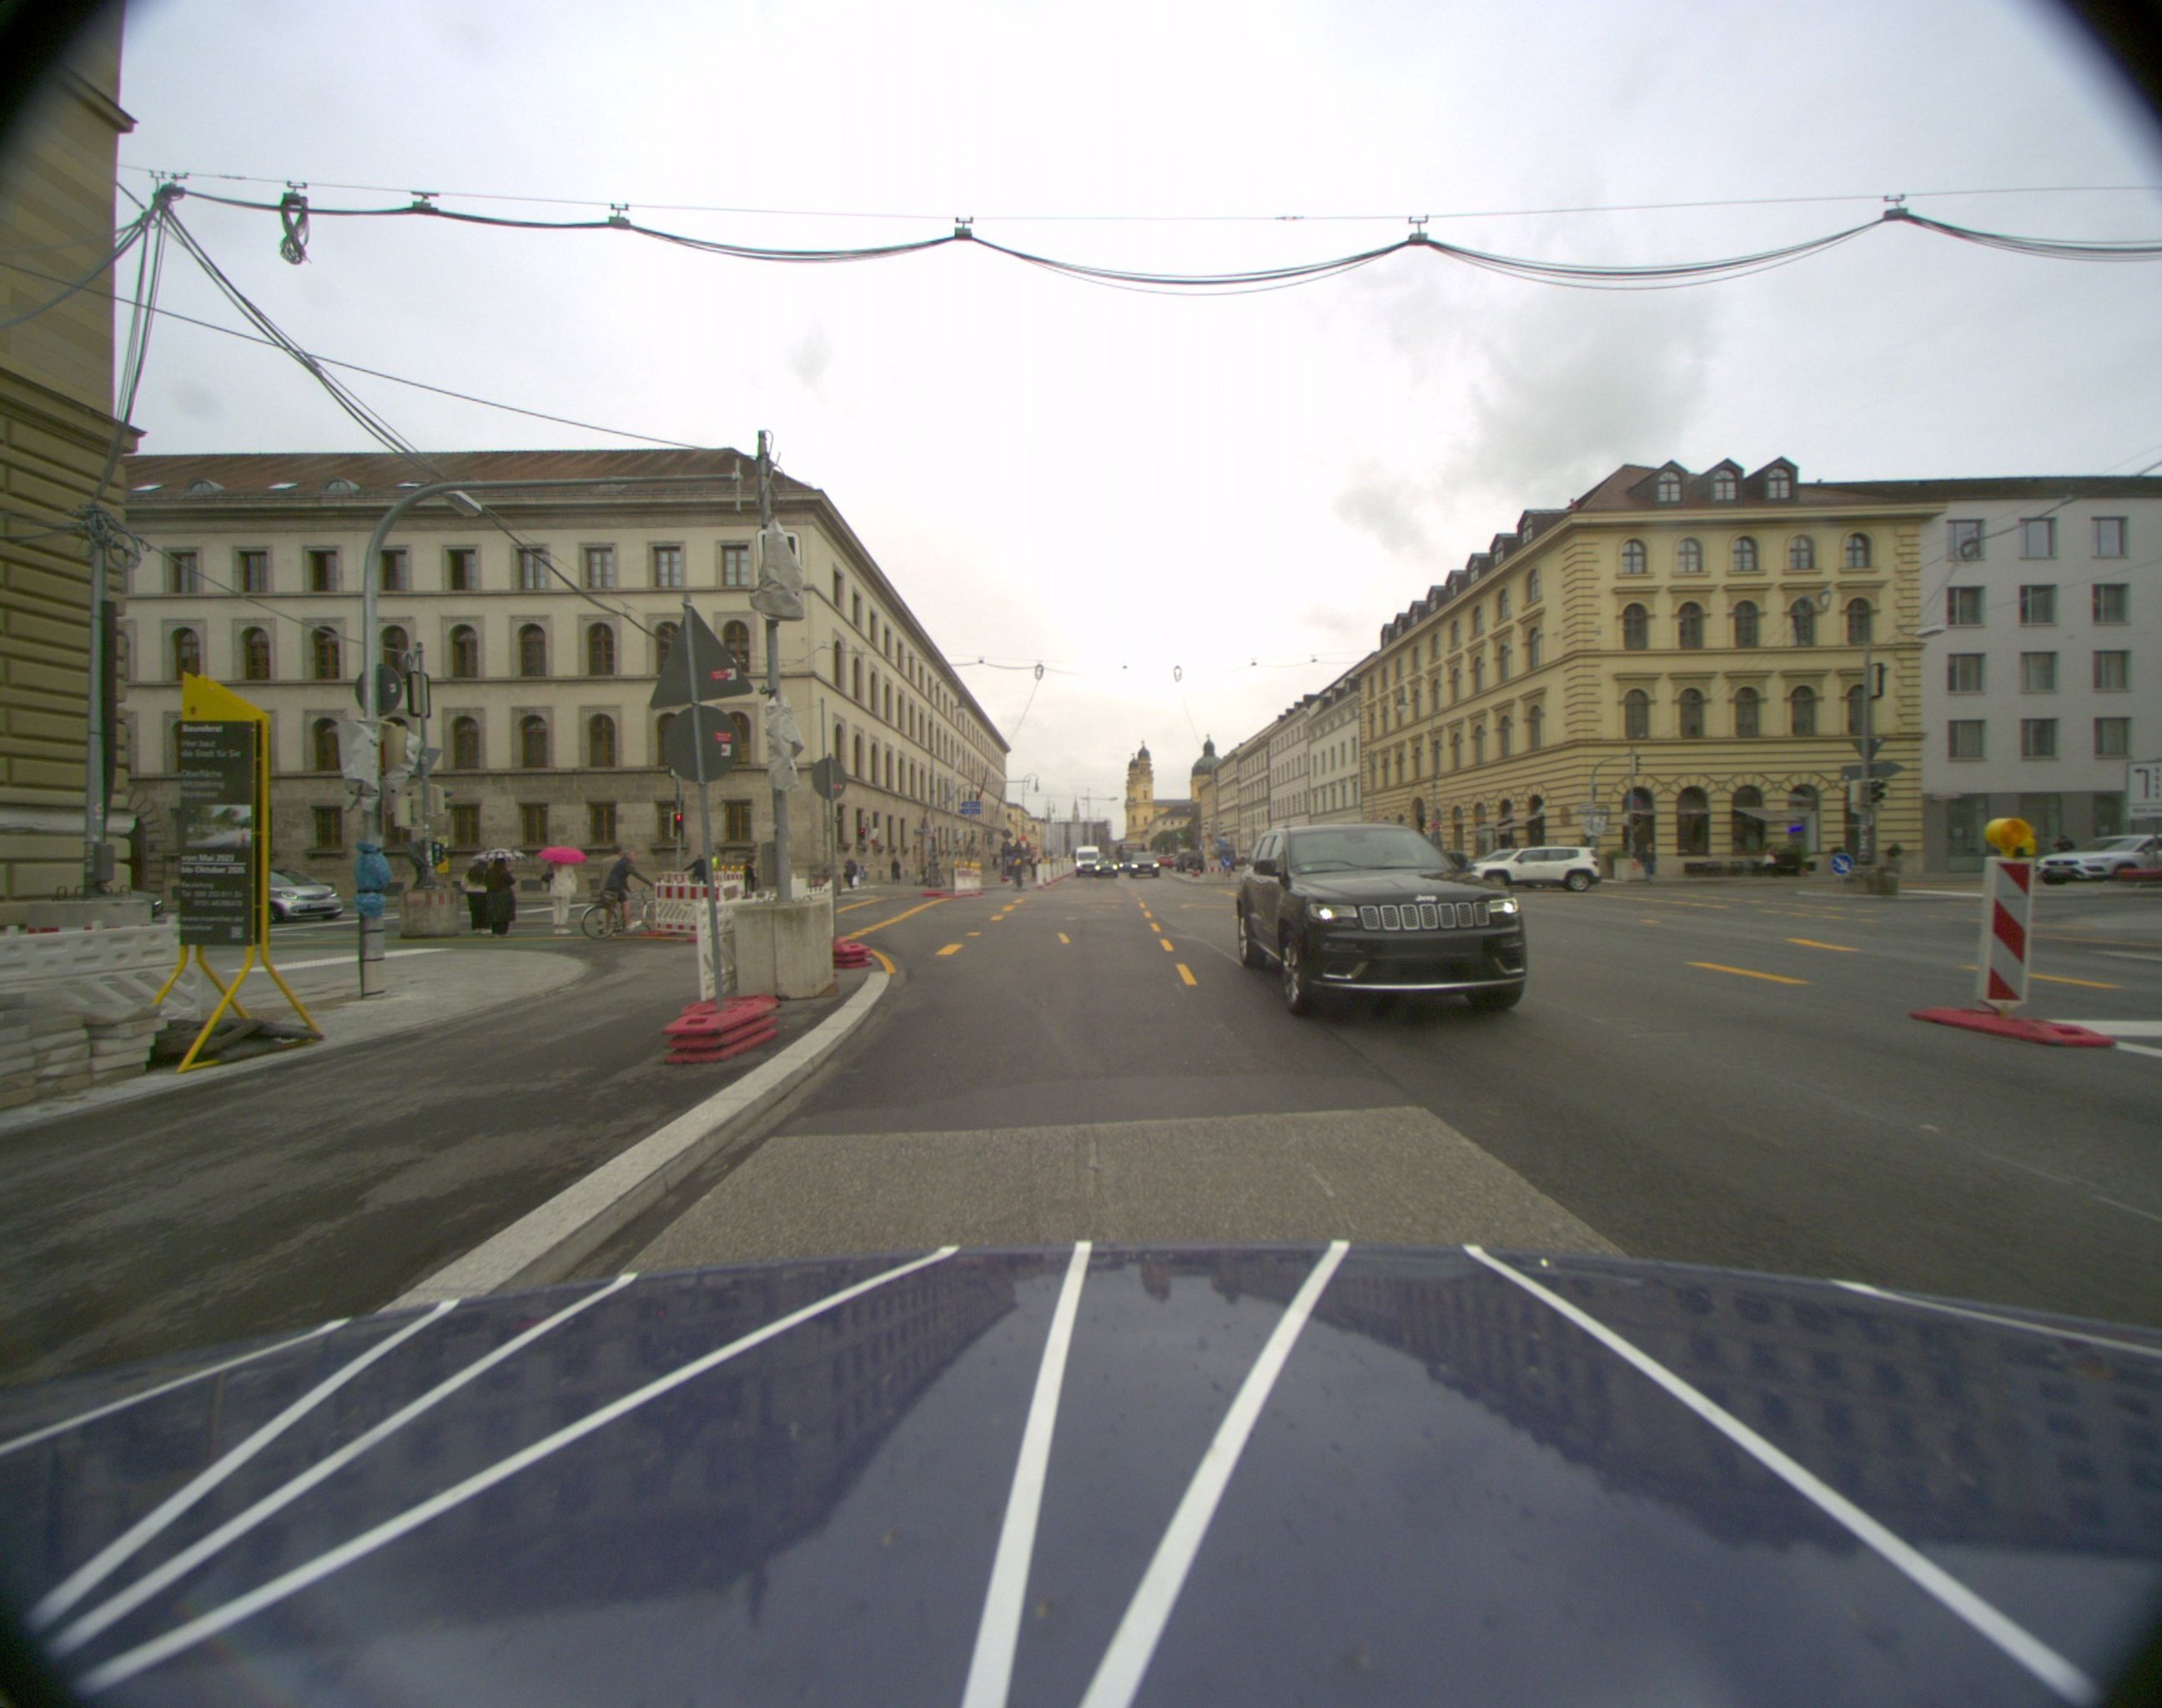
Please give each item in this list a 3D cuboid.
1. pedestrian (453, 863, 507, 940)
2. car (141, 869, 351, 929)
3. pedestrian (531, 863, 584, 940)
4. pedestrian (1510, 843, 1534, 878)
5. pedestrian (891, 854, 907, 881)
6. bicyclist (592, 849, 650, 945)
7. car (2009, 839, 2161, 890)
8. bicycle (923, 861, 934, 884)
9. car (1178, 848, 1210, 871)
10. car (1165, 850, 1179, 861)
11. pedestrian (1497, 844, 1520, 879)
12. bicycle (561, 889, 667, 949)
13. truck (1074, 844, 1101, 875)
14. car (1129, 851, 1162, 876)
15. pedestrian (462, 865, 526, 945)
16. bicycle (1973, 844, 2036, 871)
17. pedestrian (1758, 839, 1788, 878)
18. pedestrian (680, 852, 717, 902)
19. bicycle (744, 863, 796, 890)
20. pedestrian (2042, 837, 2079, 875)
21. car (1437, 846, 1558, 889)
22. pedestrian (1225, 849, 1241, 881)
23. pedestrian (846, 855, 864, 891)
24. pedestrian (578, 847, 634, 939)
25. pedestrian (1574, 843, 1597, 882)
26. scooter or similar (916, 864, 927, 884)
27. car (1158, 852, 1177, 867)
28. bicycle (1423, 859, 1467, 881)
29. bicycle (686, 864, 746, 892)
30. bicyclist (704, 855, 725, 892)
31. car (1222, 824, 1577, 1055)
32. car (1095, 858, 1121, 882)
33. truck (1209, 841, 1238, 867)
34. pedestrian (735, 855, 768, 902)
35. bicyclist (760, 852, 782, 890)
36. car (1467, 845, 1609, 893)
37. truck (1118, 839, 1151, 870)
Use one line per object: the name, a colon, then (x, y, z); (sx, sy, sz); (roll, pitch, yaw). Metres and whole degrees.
pedestrian: (-12.949, 1.019, 16.381); (0.673, 1.611, 0.533); (-1, 2, 3)
car: (-23.266, 1.220, 21.274); (3.997, 1.495, 1.634); (-1, 1, 0)
pedestrian: (-11.009, 0.991, 16.003); (0.541, 1.558, 0.705); (-1, 2, 3)
pedestrian: (22.333, 0.326, 38.475); (0.739, 1.762, 0.735); (-1, 2, -9)
pedestrian: (-11.138, 0.823, 46.569); (0.738, 1.645, 0.727); (2, 1, 3)
bicyclist: (-9.204, 0.835, 15.204); (0.566, 1.843, 0.801); (1, 2, 43)
car: (32.426, 0.302, 23.807); (4.230, 1.515, 2.000); (-1, 0, 0)
bicycle: (-9.163, 1.101, 45.783); (0.381, 1.235, 1.988); (-1, 1, -5)
car: (10.393, 0.458, 70.119); (2.243, 2.002, 4.450); (-1, 0, 0)
car: (15.157, 0.243, 126.717); (1.822, 1.710, 4.000); (-1, 0, 1)
pedestrian: (21.580, 0.362, 38.370); (0.739, 1.762, 0.735); (-1, 2, -9)
bicycle: (-9.274, 1.259, 15.131); (0.585, 1.006, 1.660); (0, 2, 43)
truck: (0.498, 0.421, 64.511); (2.115, 2.466, 5.859); (-1, 0, 0)
car: (4.543, 0.660, 54.005); (1.998, 1.674, 4.000); (-1, 0, 1)
pedestrian: (-11.927, 1.029, 15.455); (0.681, 1.558, 0.705); (-1, 2, 3)
bicycle: (44.321, 0.178, 36.484); (2.197, 1.235, 0.600); (-1, 2, 3)
pedestrian: (32.026, 0.215, 35.160); (0.735, 1.762, 0.739); (-1, 2, 9)
pedestrian: (-13.619, 0.807, 27.077); (1.043, 1.733, 0.514); (-1, 1, -9)
bicycle: (-15.127, 1.104, 37.025); (2.196, 1.235, 0.789); (-1, 2, 5)
pedestrian: (45.862, 0.075, 35.576); (0.735, 1.762, 0.739); (-1, 2, 0)
car: (17.214, 0.568, 31.632); (4.223, 1.667, 1.743); (-1, 0, 23)
pedestrian: (8.539, 0.604, 42.727); (0.735, 1.762, 0.739); (-1, 2, 3)
pedestrian: (-10.698, 0.886, 35.974); (0.739, 1.645, 0.726); (2, 1, -12)
pedestrian: (-9.954, 0.795, 15.949); (0.640, 1.874, 0.705); (-1, 2, 5)
pedestrian: (23.364, 0.375, 35.206); (0.737, 1.762, 0.737); (0, 2, 22)
scooter or similar: (-9.603, 1.192, 45.665); (0.381, 1.138, 1.988); (-1, 1, -5)
car: (10.362, 0.646, 91.513); (1.822, 1.710, 4.000); (-1, 0, 1)
bicycle: (19.047, 0.813, 39.788); (0.601, 1.093, 2.195); (-1, 0, -23)
bicycle: (-17.742, 1.160, 36.978); (2.449, 1.235, 0.788); (-1, 2, -13)
bicyclist: (-17.814, 0.925, 36.954); (0.689, 1.739, 0.800); (-1, 2, -13)
car: (2.821, 0.660, 8.034); (1.999, 1.724, 4.586); (-1, 0, 3)
car: (1.976, 1.162, 56.878); (1.800, 1.585, 3.999); (-1, 1, 0)
truck: (14.976, -0.008, 80.298); (2.220, 2.647, 4.783); (-1, 0, 1)
pedestrian: (-12.707, 0.946, 29.329); (0.738, 1.762, 0.847); (-1, 2, 14)
bicyclist: (-15.096, 0.819, 37.011); (0.688, 1.766, 0.801); (-1, 2, 5)
car: (16.602, 0.540, 27.848); (4.223, 1.667, 1.802); (-1, 0, 23)
truck: (5.388, -0.009, 77.963); (2.989, 2.996, 7.143); (-1, 1, 2)
